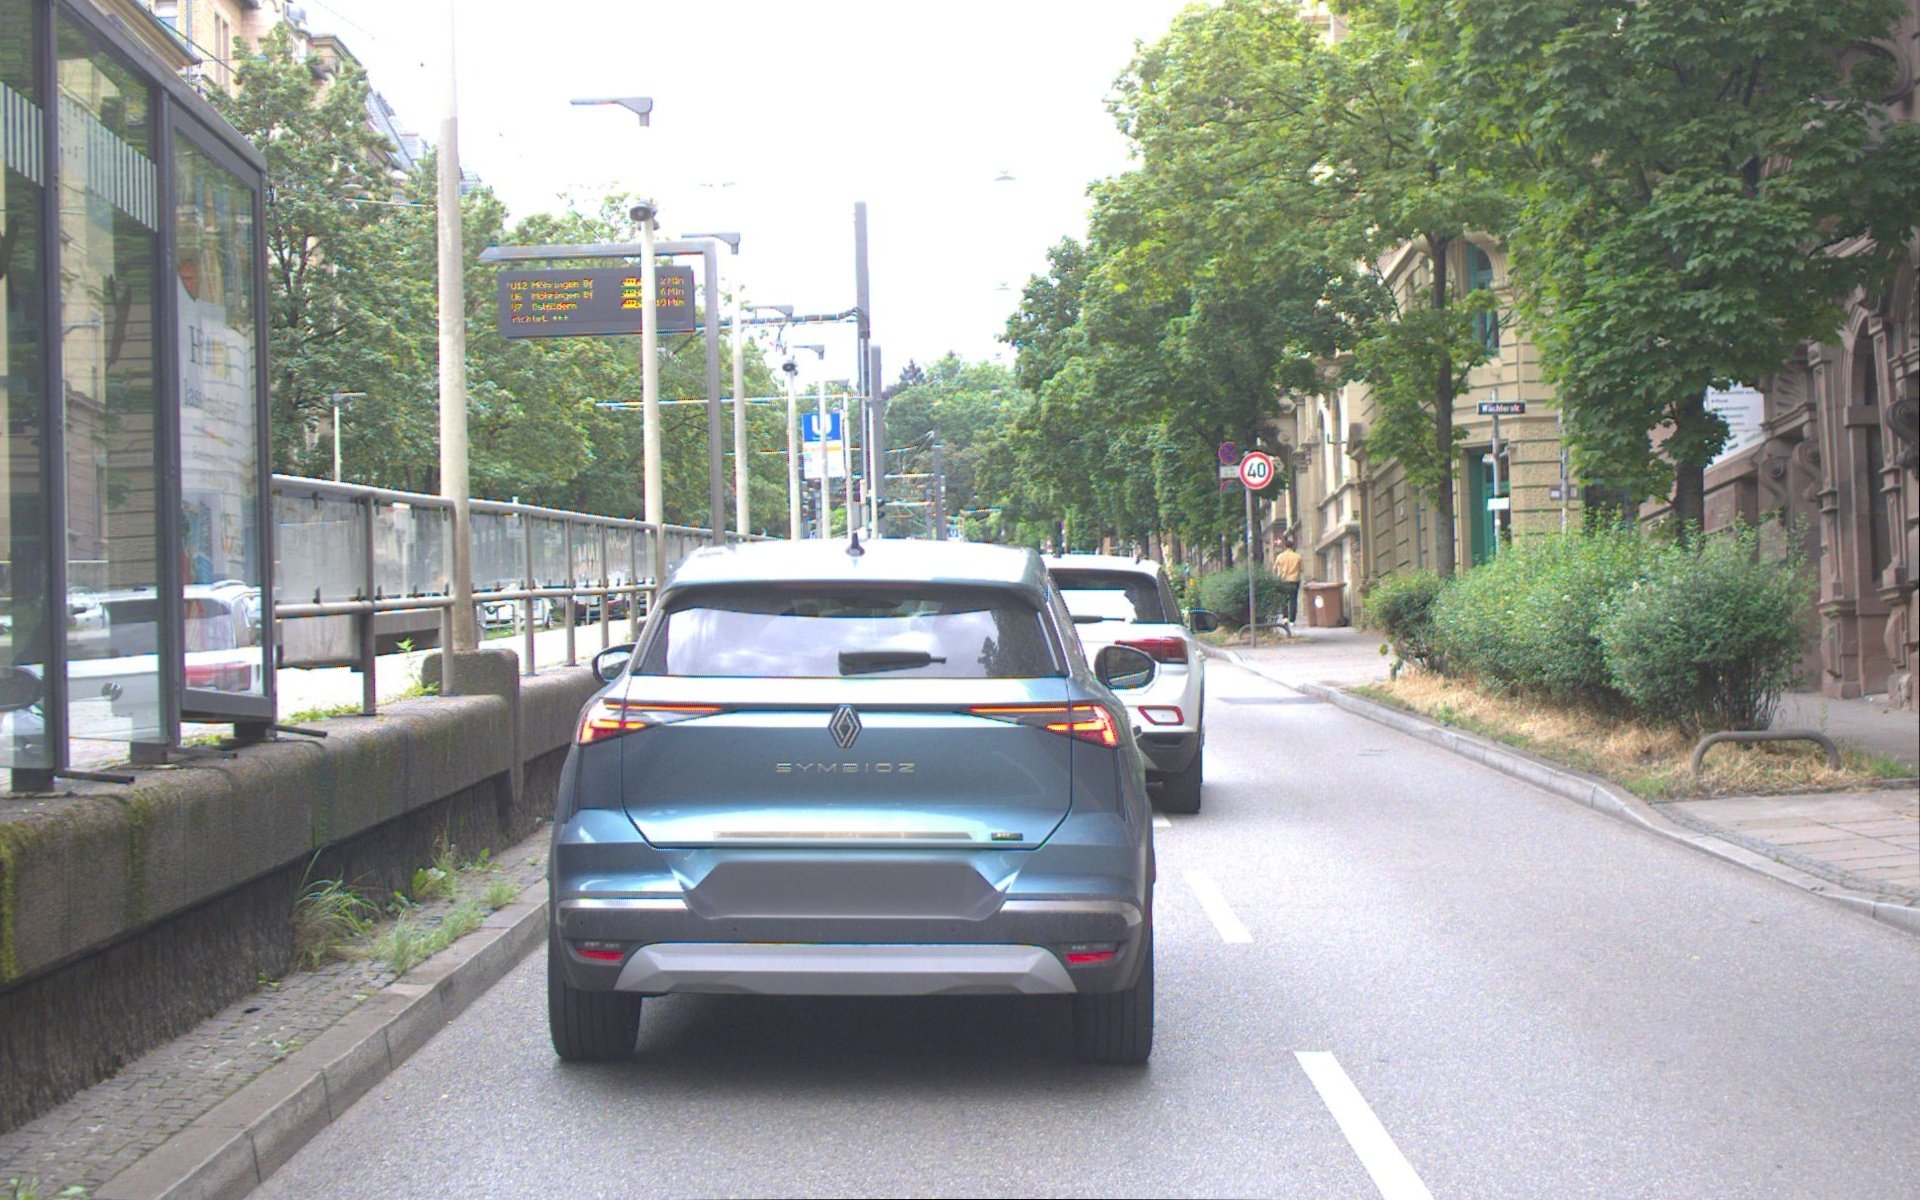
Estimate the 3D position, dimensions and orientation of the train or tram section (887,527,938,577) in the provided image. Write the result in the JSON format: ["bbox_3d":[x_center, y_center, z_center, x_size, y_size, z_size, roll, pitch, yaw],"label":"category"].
[{"bbox_3d":[-3.337,-3.364,244.276,2.996,3.337,13.438,-1,0,2],"label":"train or tram section"}]

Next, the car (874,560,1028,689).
[{"bbox_3d":[-0.073,0.287,43.416,1.835,1.541,4.193,1,0,1],"label":"car"}]

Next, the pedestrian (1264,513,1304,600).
[{"bbox_3d":[6.972,-0.923,74.074,0.685,1.823,1.121,-3,0,1],"label":"pedestrian"}]

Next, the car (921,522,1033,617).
[{"bbox_3d":[0.318,-0.513,58.711,1.835,1.541,4.193,1,0,1],"label":"car"}]

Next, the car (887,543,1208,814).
[{"bbox_3d":[0.649,0.444,21.894,1.836,1.541,4.193,1,0,4],"label":"car"}]

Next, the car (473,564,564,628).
[{"bbox_3d":[-12.232,-0.127,95.456,1.936,1.674,4.000,-2,1,0],"label":"car"}]

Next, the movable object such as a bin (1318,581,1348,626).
[{"bbox_3d":[7.735,0.080,71.313,0.500,0.916,0.443,-1,1,21],"label":"movable object such as a bin"}]

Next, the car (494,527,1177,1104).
[{"bbox_3d":[-0.301,0.575,11.405,1.835,1.541,4.193,1,0,1],"label":"car"}]

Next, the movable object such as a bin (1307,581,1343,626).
[{"bbox_3d":[7.638,0.074,71.969,0.500,0.916,0.493,-3,0,-40],"label":"movable object such as a bin"}]

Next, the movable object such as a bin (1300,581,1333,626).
[{"bbox_3d":[7.520,0.065,72.562,0.612,0.916,0.493,-3,0,3],"label":"movable object such as a bin"}]
